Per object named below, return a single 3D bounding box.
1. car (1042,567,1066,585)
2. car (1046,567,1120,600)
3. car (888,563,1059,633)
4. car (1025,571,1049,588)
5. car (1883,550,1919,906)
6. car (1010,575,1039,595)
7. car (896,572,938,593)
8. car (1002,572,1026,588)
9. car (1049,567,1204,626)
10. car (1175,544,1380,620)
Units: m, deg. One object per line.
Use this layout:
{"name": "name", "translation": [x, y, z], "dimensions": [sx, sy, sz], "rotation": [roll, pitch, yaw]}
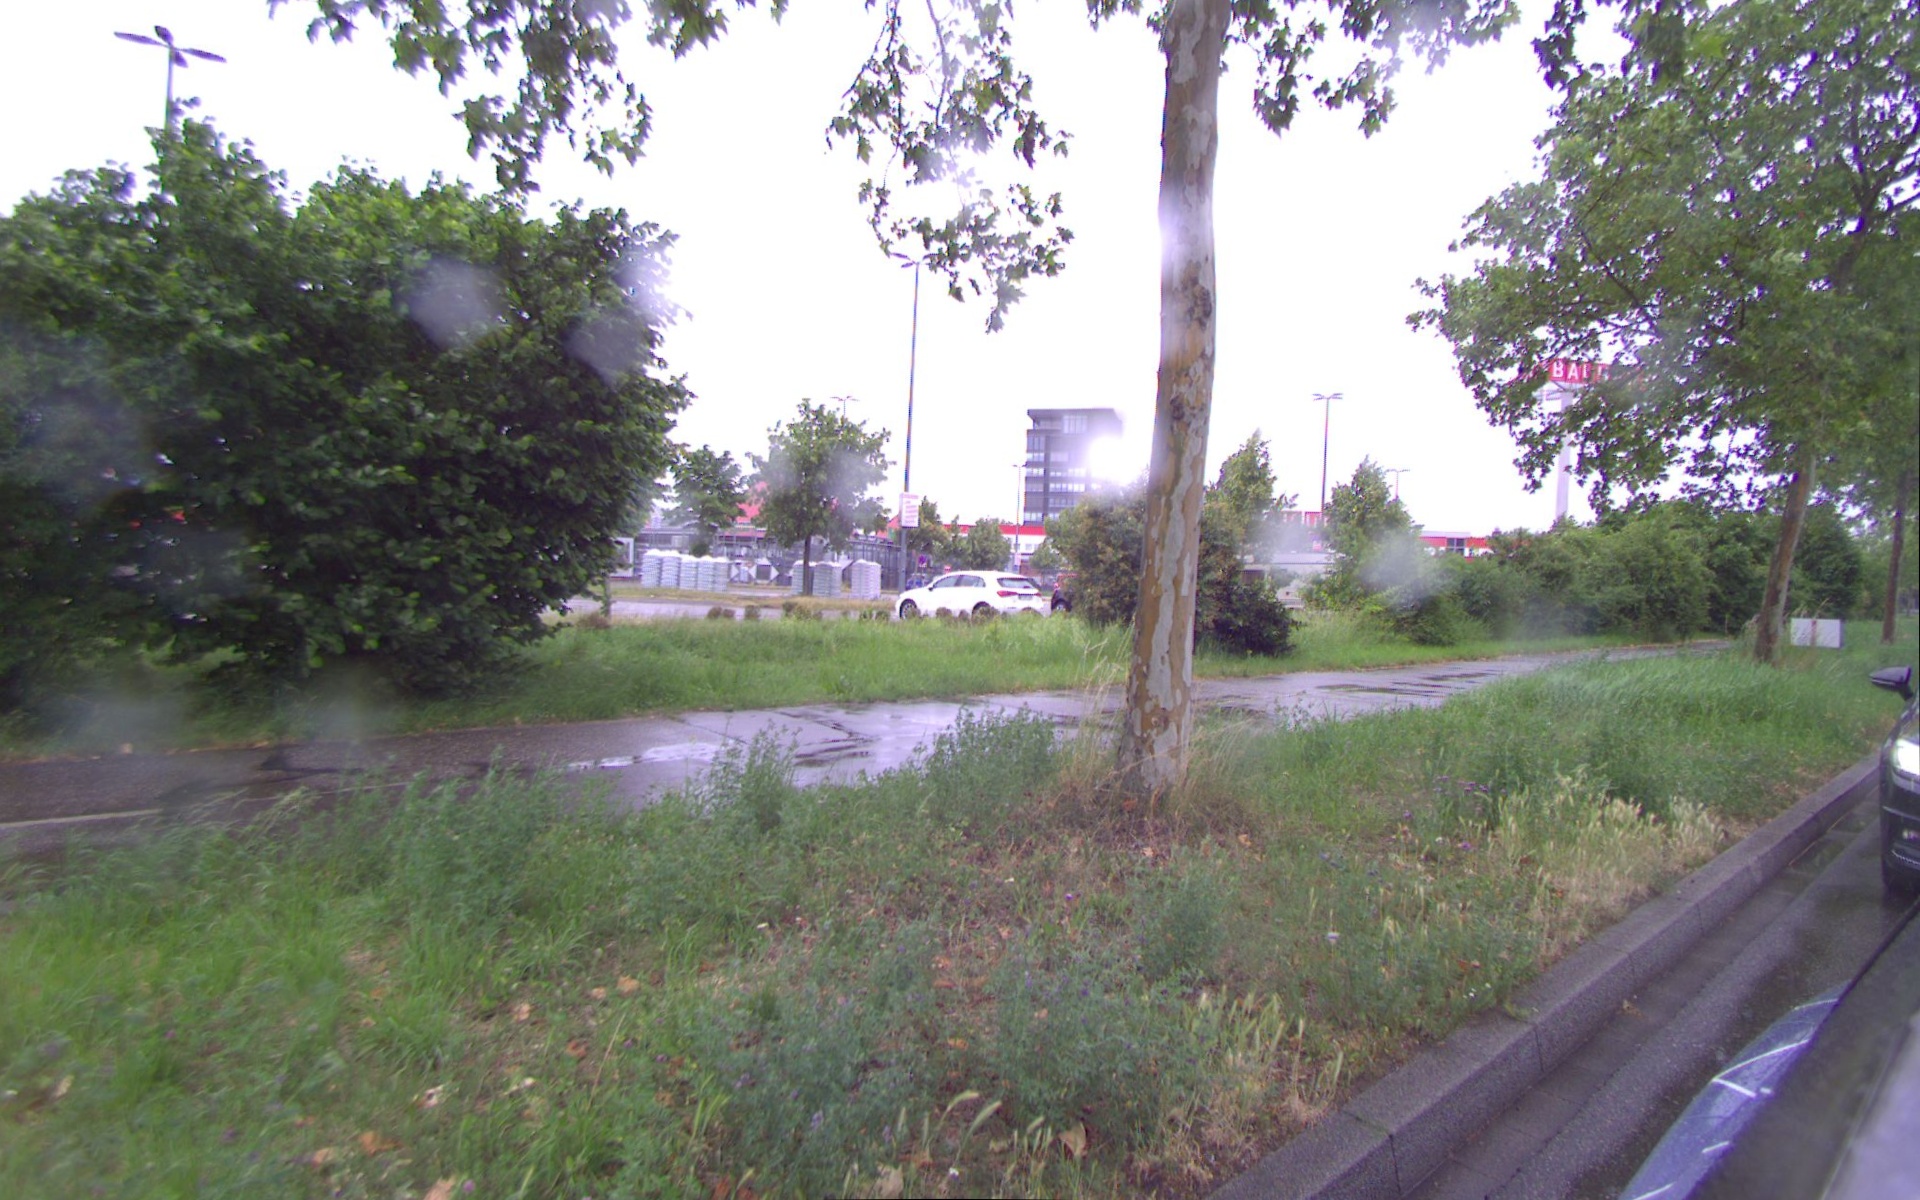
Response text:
{"name": "car", "translation": [9.309, -2.387, 100.117], "dimensions": [1.971, 1.697, 4.261], "rotation": [2, 2, 10]}
{"name": "car", "translation": [6.775, -0.915, 55.515], "dimensions": [3.937, 1.749, 1.885], "rotation": [0, 0, 12]}
{"name": "car", "translation": [0.285, -0.108, 25.929], "dimensions": [1.899, 1.571, 4.262], "rotation": [0, 2, -45]}
{"name": "car", "translation": [8.508, -2.276, 111.887], "dimensions": [1.973, 1.697, 4.257], "rotation": [2, 2, 13]}
{"name": "car", "translation": [6.553, 0.579, 5.604], "dimensions": [4.548, 1.625, 1.768], "rotation": [0, 0, -43]}
{"name": "car", "translation": [6.037, -1.440, 94.712], "dimensions": [1.973, 1.697, 4.255], "rotation": [2, 2, 14]}
{"name": "car", "translation": [-3.345, -1.394, 79.044], "dimensions": [1.905, 1.571, 4.249], "rotation": [2, 2, 18]}
{"name": "car", "translation": [6.013, -2.267, 112.488], "dimensions": [1.973, 1.697, 4.257], "rotation": [2, 2, 13]}
{"name": "car", "translation": [4.927, -0.149, 30.284], "dimensions": [1.899, 1.571, 4.262], "rotation": [0, 2, -45]}
{"name": "car", "translation": [10.952, -0.701, 35.272], "dimensions": [6.399, 2.392, 2.357], "rotation": [3, 2, 41]}
